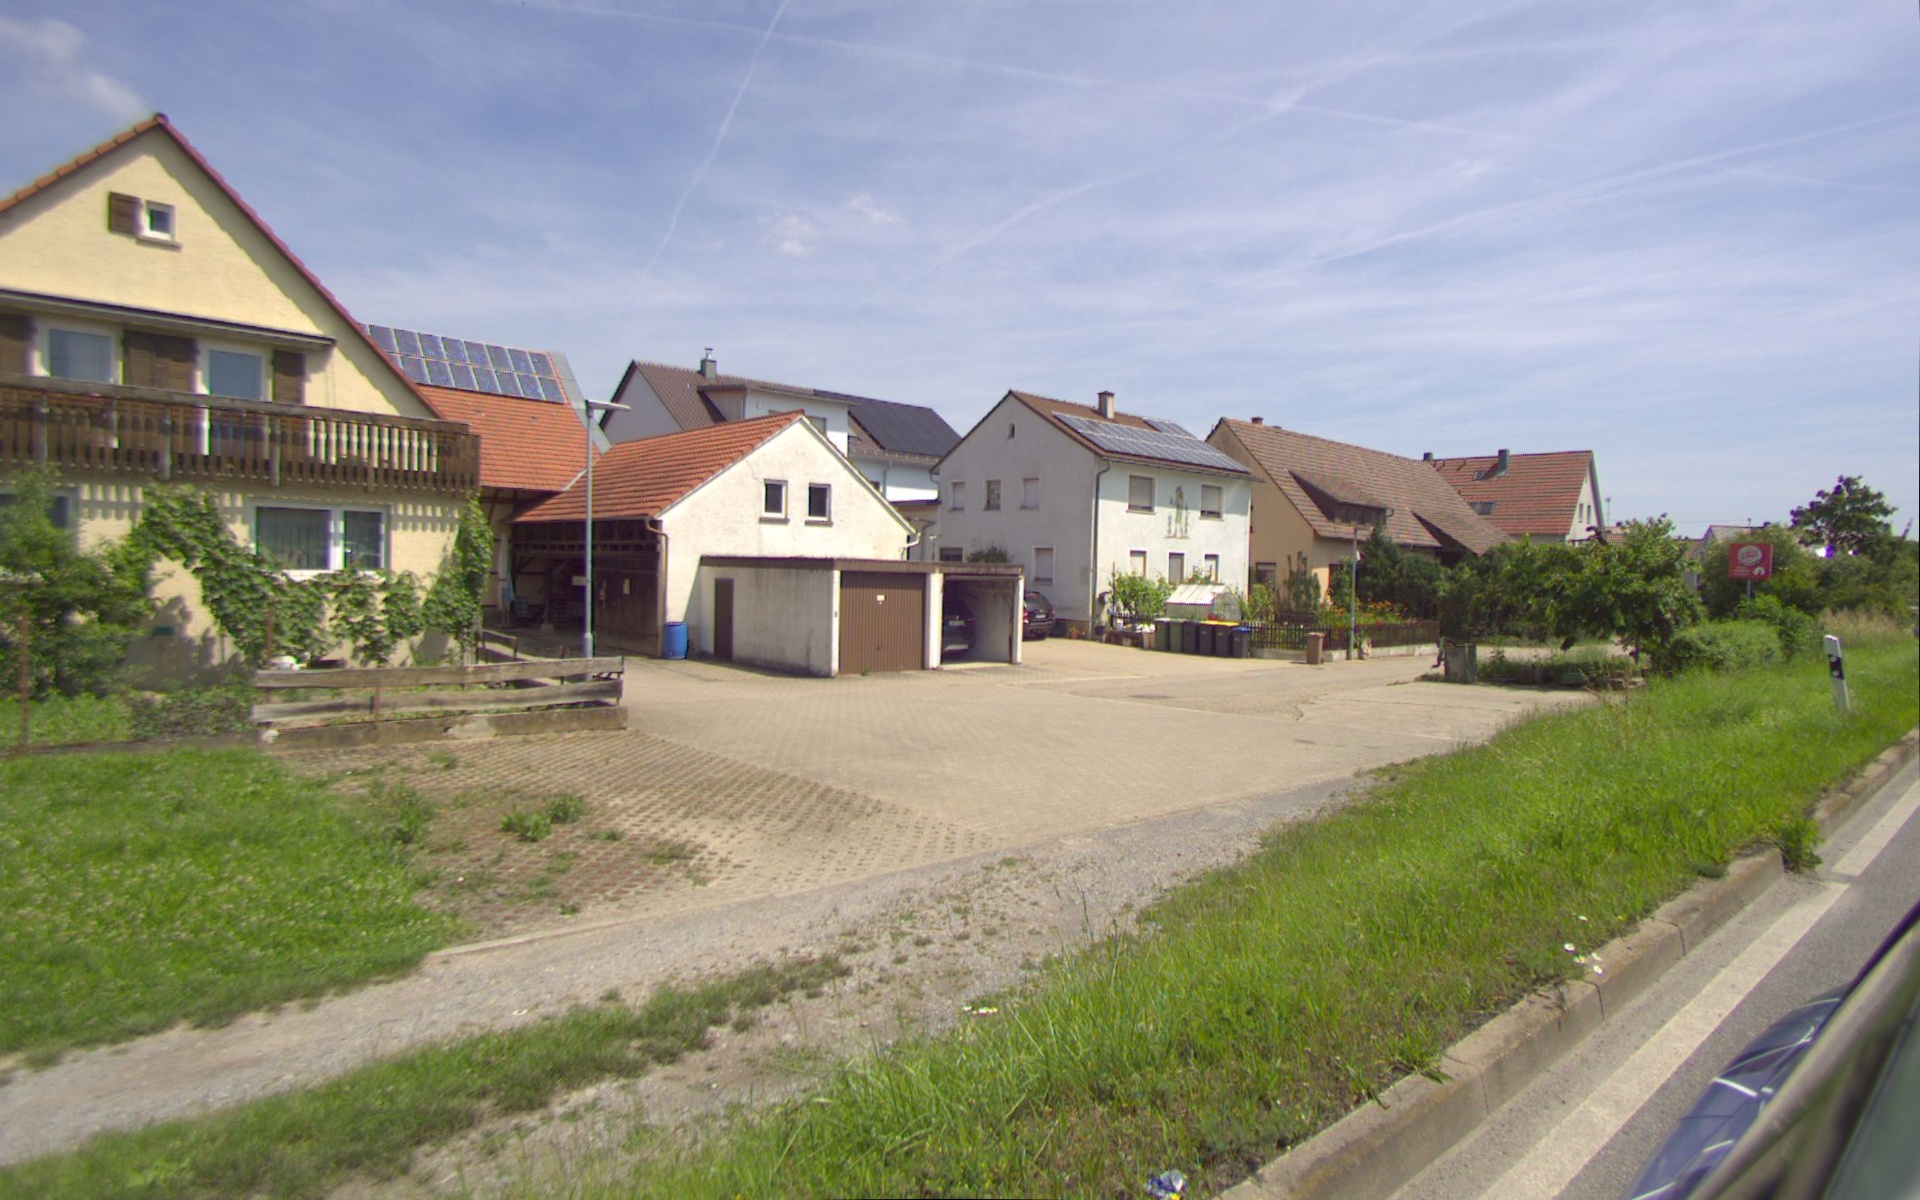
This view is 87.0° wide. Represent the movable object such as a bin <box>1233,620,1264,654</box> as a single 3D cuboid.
[{"bbox_3d":[9.128,1.159,31.986,0.743,1.040,0.645,1,-1,-41],"label":"movable object such as a bin"}]

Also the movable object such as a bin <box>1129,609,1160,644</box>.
[{"bbox_3d":[6.409,0.905,35.176,0.815,1.171,0.740,1,-1,-41],"label":"movable object such as a bin"}]

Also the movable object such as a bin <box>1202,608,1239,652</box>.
[{"bbox_3d":[8.424,0.955,32.704,0.930,1.388,0.764,1,-1,-41],"label":"movable object such as a bin"}]

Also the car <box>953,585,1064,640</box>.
[{"bbox_3d":[1.719,0.393,37.043,1.796,1.755,3.996,-1,3,-40],"label":"car"}]

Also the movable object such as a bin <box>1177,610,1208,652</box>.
[{"bbox_3d":[7.794,1.026,33.930,0.806,1.355,0.678,1,-1,-41],"label":"movable object such as a bin"}]

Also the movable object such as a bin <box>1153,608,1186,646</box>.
[{"bbox_3d":[7.171,0.905,34.604,0.874,1.262,0.744,1,-1,-41],"label":"movable object such as a bin"}]

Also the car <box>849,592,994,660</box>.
[{"bbox_3d":[-1.081,0.634,26.765,1.794,1.624,3.996,0,0,-39],"label":"car"}]
